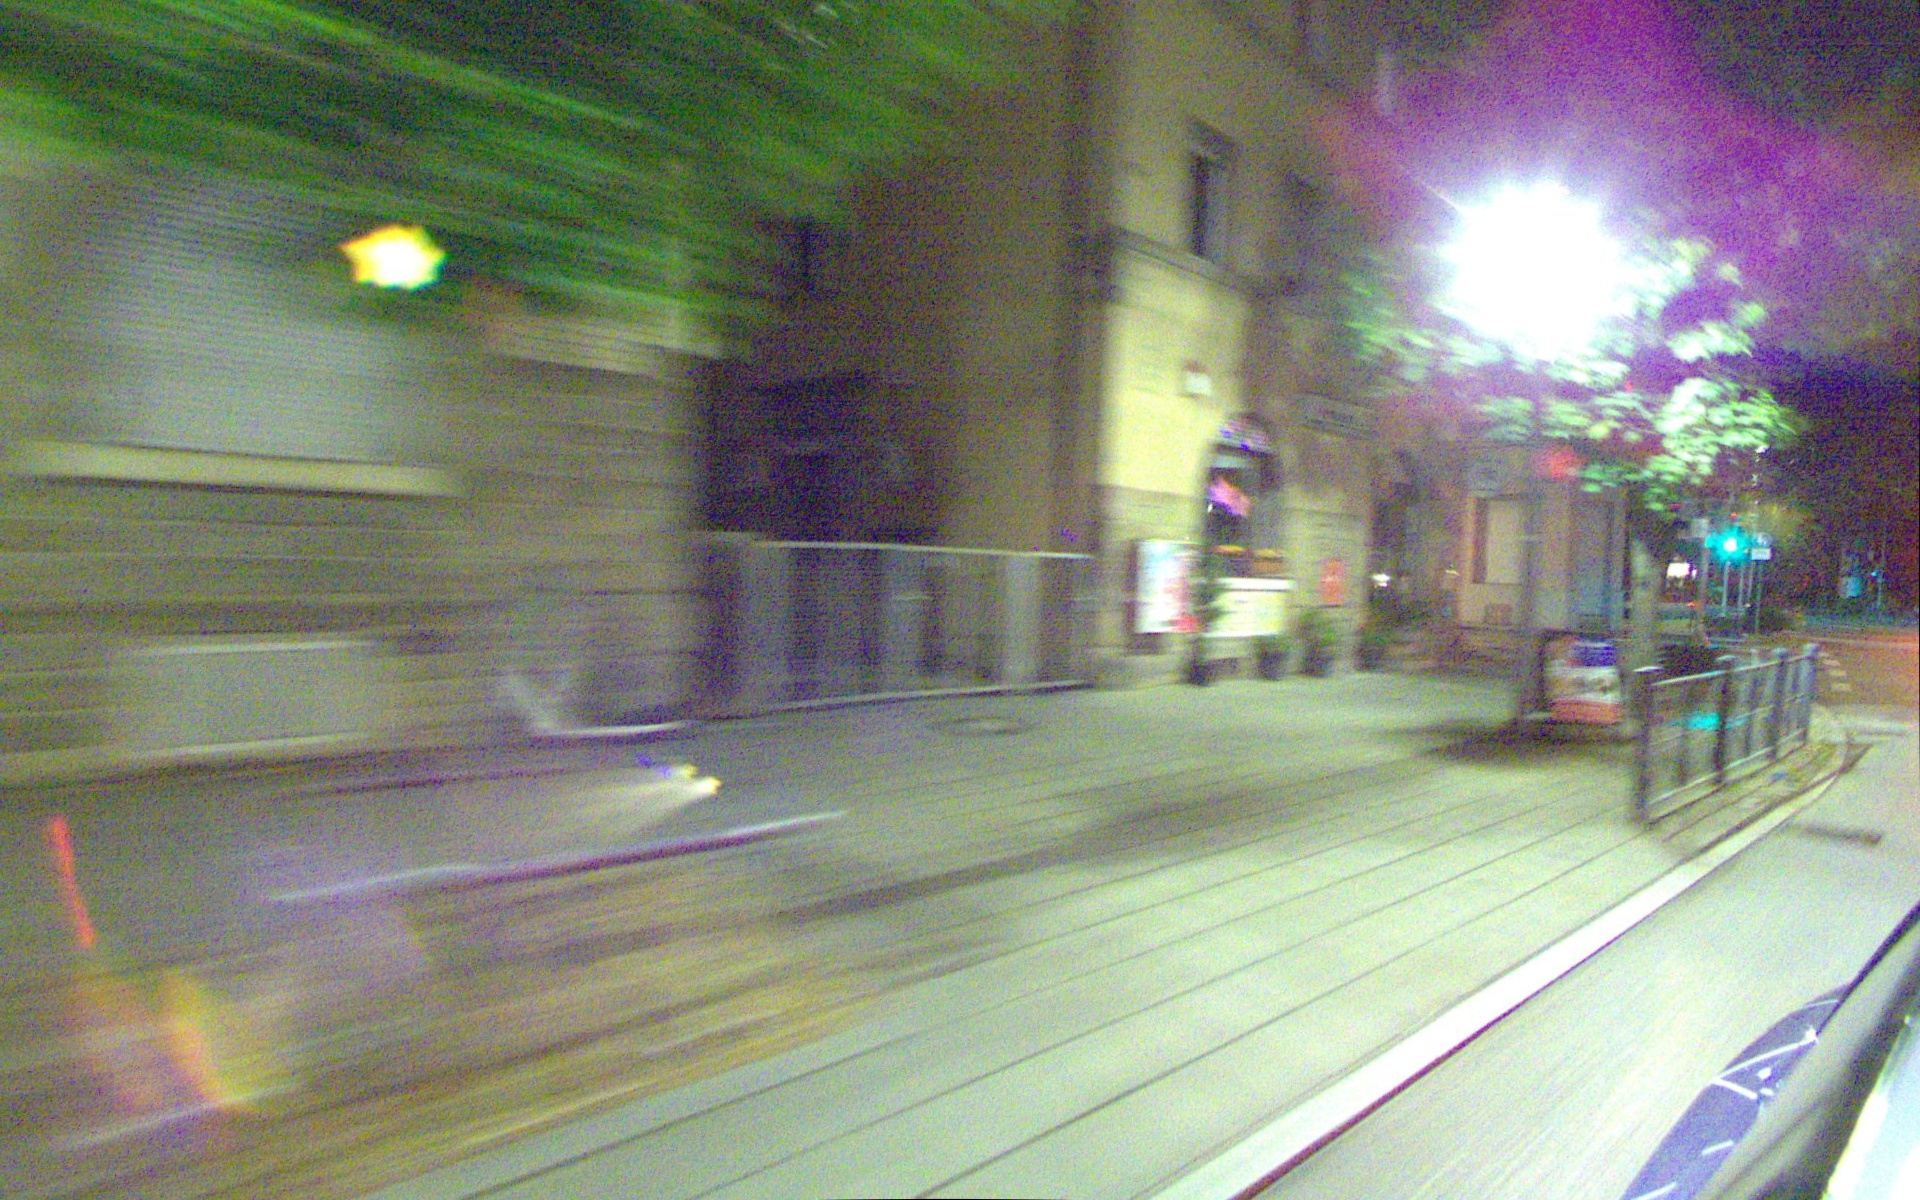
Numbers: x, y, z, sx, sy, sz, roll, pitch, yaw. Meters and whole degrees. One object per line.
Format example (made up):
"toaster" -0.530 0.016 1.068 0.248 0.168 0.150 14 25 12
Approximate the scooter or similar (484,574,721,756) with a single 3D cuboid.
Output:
"scooter or similar" -2.456 0.417 7.027 1.464 1.144 0.423 1 3 -33
